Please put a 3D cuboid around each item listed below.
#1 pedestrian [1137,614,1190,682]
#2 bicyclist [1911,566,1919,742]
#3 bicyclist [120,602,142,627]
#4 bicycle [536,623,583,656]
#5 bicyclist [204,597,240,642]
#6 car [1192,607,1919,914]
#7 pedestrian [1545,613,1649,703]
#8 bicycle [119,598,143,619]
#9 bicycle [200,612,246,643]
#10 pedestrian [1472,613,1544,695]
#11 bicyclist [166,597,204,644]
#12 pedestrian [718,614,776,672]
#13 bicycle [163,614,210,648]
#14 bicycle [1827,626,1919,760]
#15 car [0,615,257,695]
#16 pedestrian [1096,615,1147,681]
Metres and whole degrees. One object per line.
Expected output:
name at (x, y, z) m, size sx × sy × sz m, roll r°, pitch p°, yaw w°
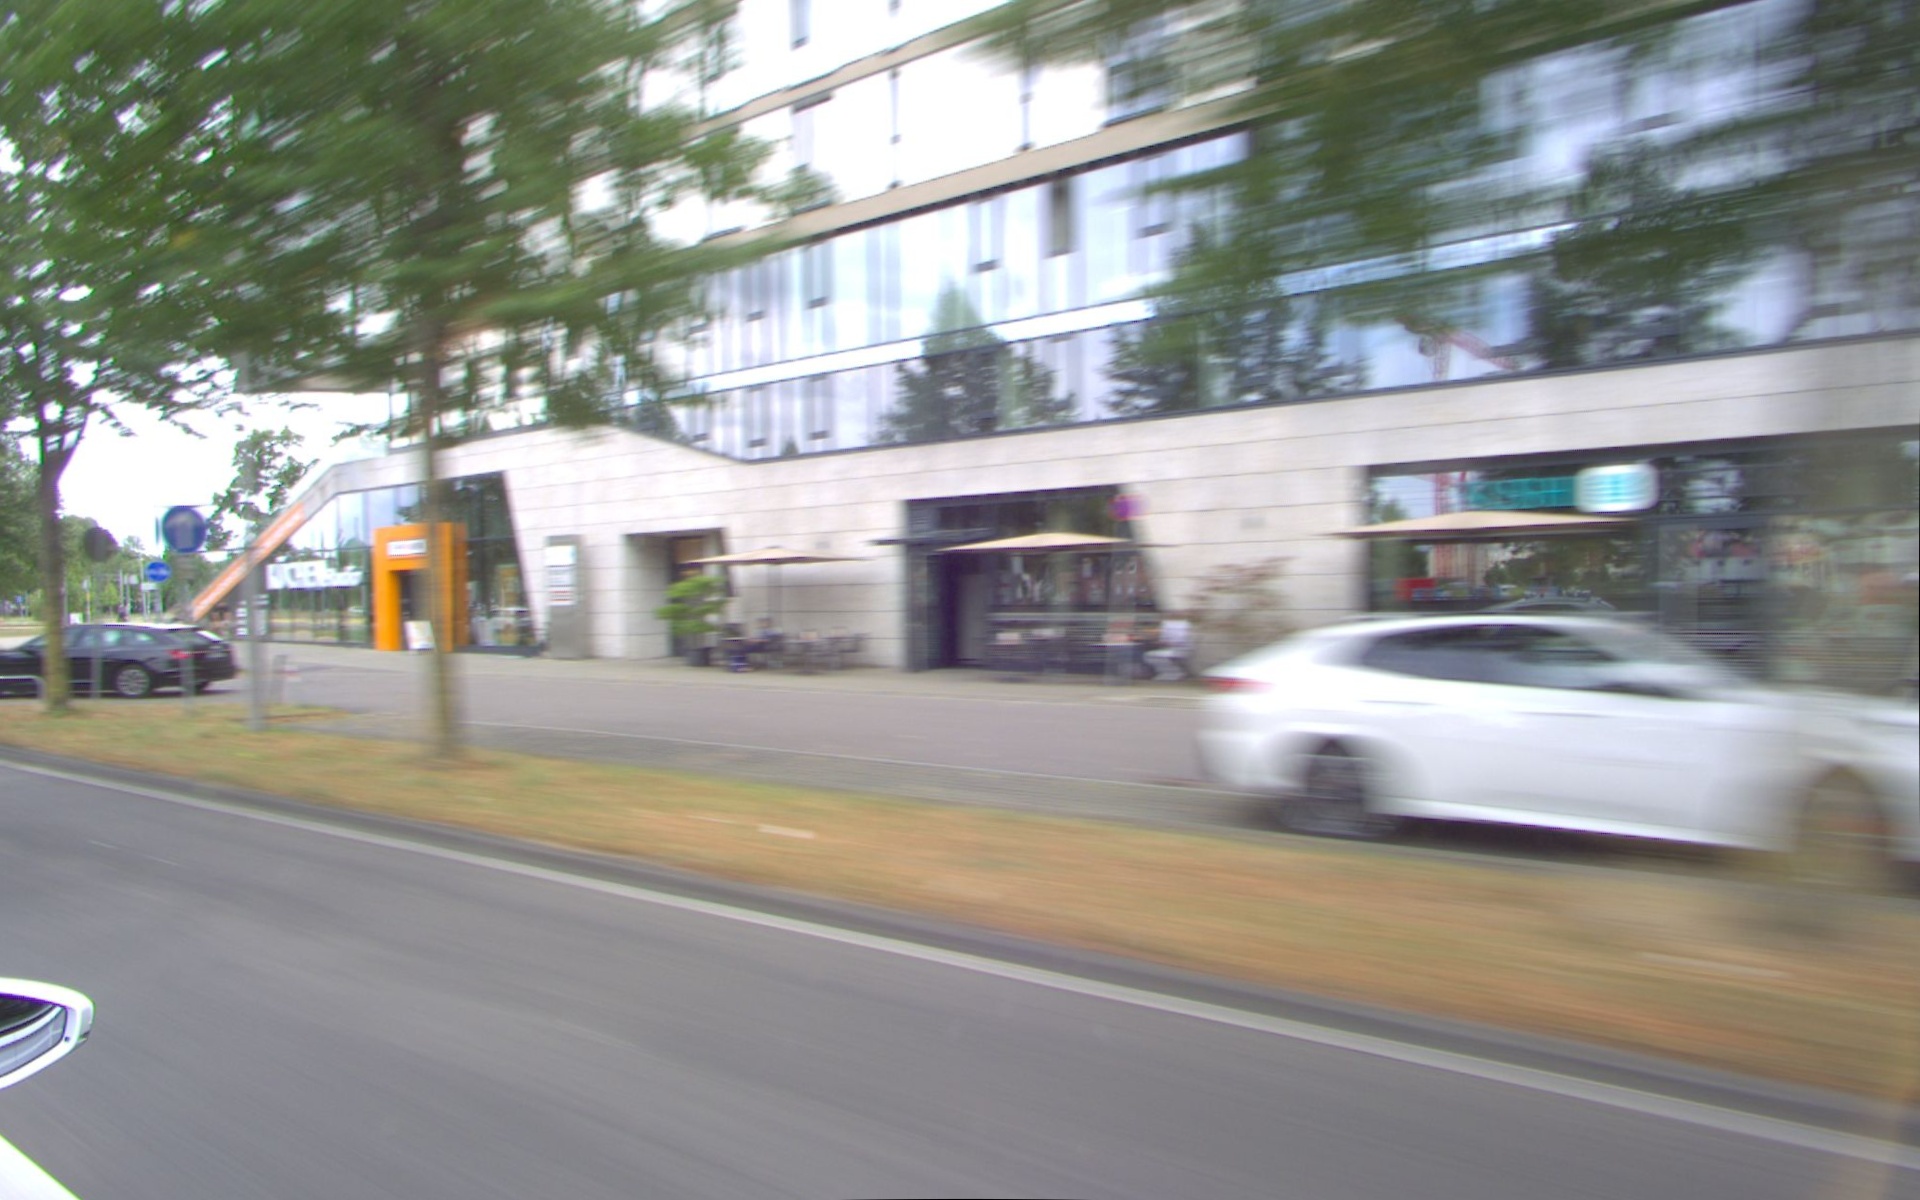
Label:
pedestrian at (3.778, 0.875, 18.593) m, size 0.748 × 1.208 × 0.717 m, roll 0°, pitch 1°, yaw 34°
bicyclist at (9.955, 0.553, 9.512) m, size 1.113 × 1.761 × 0.994 m, roll 0°, pitch 3°, yaw 31°
bicyclist at (-59.602, 1.042, 71.975) m, size 1.157 × 1.813 × 0.865 m, roll 0°, pitch 1°, yaw 31°
bicycle at (-11.585, 1.131, 28.949) m, size 1.472 × 0.922 × 0.517 m, roll 0°, pitch 1°, yaw 33°
bicyclist at (-26.600, 0.688, 36.111) m, size 0.975 × 1.603 × 0.723 m, roll 0°, pitch 1°, yaw 32°
car at (4.101, 0.843, 6.874) m, size 4.528 × 1.572 × 1.934 m, roll 0°, pitch 0°, yaw 33°
pedestrian at (9.022, 0.790, 14.194) m, size 0.767 × 1.208 × 1.095 m, roll -1°, pitch 1°, yaw -43°
bicycle at (-59.586, 0.625, 71.950) m, size 1.978 × 1.525 × 0.704 m, roll -1°, pitch -2°, yaw 31°
bicycle at (-26.607, 0.982, 36.132) m, size 1.978 × 1.056 × 0.672 m, roll 0°, pitch 0°, yaw 32°
pedestrian at (8.452, 0.812, 15.446) m, size 0.712 × 1.208 × 0.753 m, roll -1°, pitch 1°, yaw -36°
bicyclist at (-26.967, 0.702, 34.840) m, size 0.975 × 1.603 × 0.723 m, roll 0°, pitch 1°, yaw 32°
pedestrian at (-4.833, 0.959, 22.763) m, size 0.938 × 1.245 × 0.894 m, roll 0°, pitch 1°, yaw 37°
bicycle at (-26.894, 1.068, 34.810) m, size 1.978 × 1.158 × 0.672 m, roll 0°, pitch 1°, yaw 32°
bicycle at (9.897, 0.897, 9.612) m, size 2.235 × 1.251 × 0.900 m, roll 0°, pitch 1°, yaw 31°
car at (-17.448, 1.084, 20.397) m, size 4.776 × 1.495 × 1.947 m, roll 0°, pitch 0°, yaw -3°
pedestrian at (3.075, 0.894, 19.051) m, size 0.748 × 1.208 × 0.717 m, roll 0°, pitch 1°, yaw 31°
